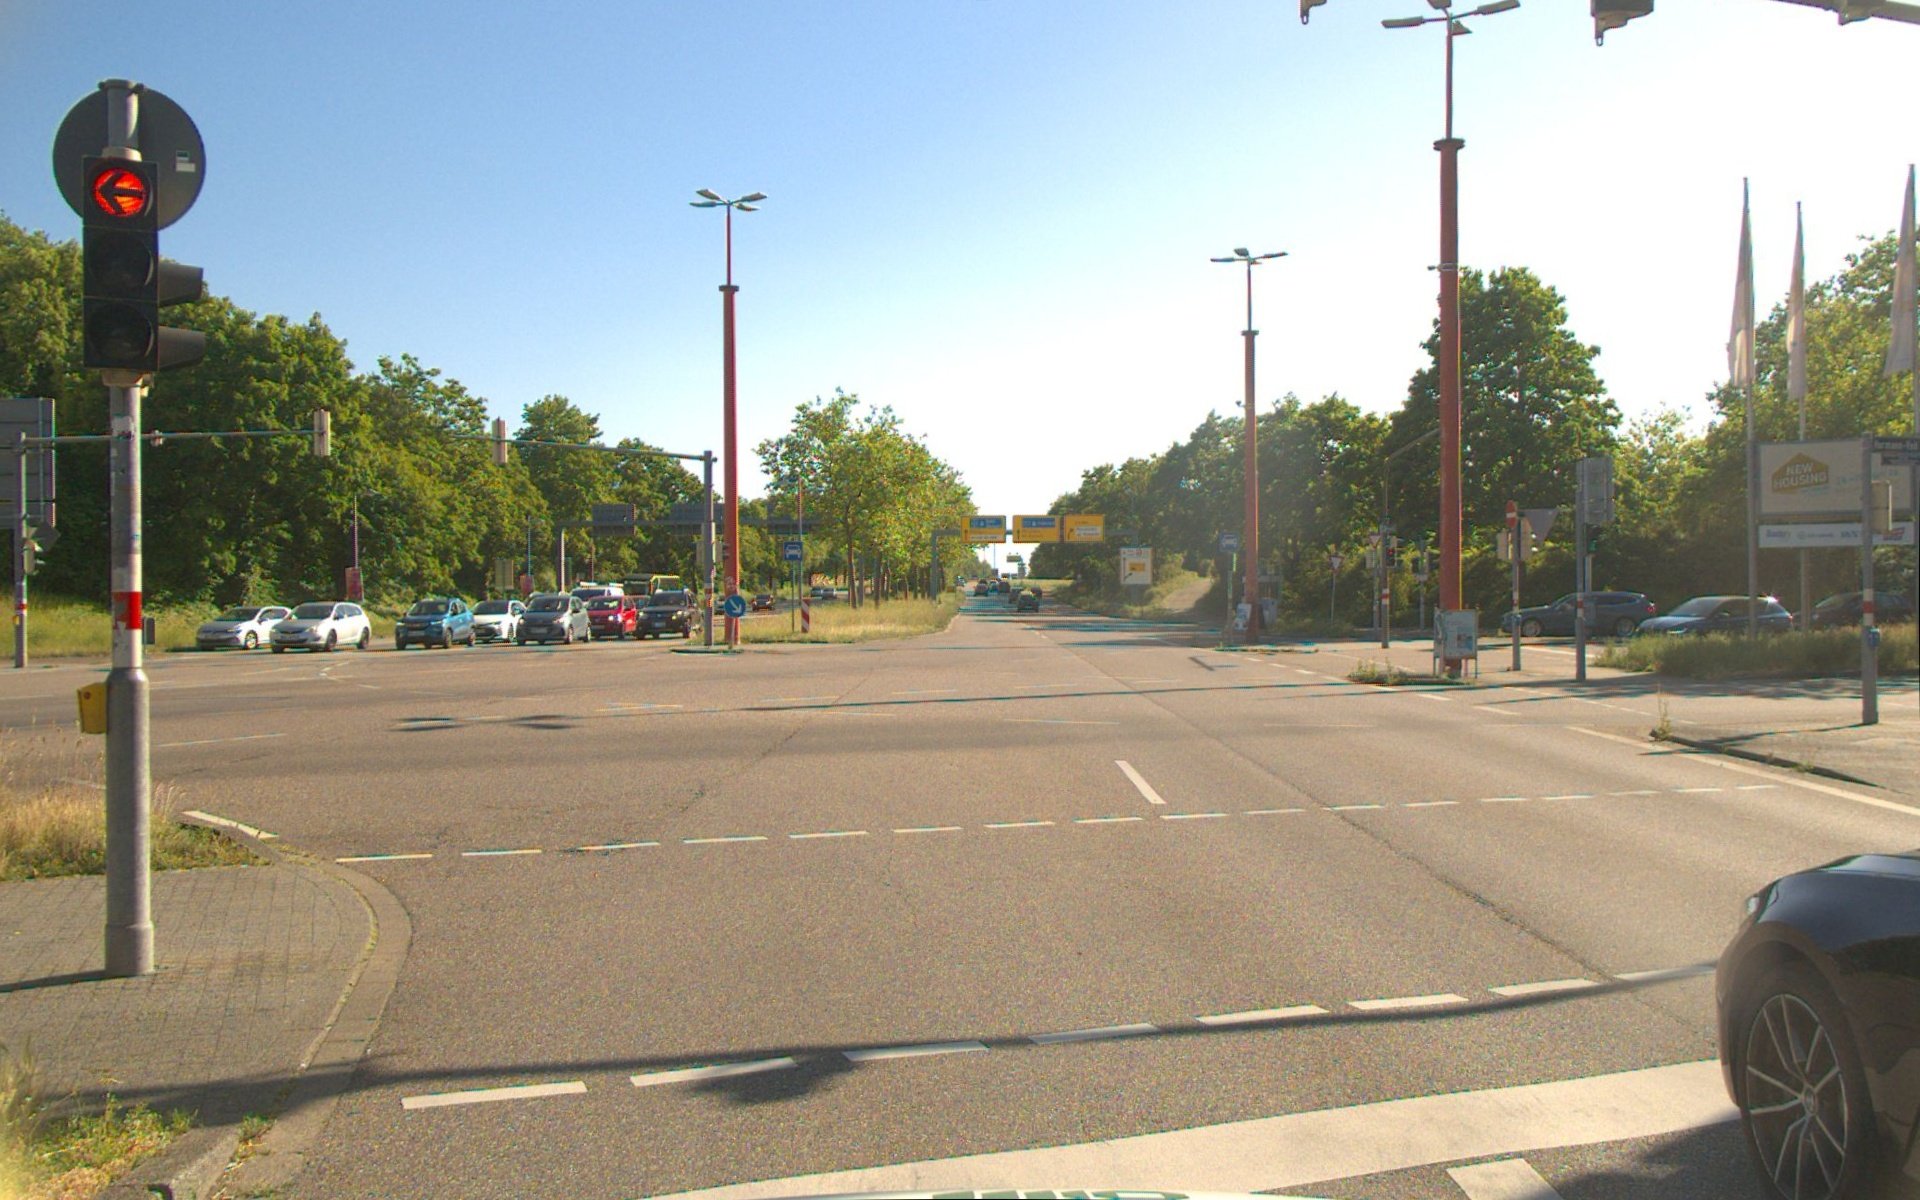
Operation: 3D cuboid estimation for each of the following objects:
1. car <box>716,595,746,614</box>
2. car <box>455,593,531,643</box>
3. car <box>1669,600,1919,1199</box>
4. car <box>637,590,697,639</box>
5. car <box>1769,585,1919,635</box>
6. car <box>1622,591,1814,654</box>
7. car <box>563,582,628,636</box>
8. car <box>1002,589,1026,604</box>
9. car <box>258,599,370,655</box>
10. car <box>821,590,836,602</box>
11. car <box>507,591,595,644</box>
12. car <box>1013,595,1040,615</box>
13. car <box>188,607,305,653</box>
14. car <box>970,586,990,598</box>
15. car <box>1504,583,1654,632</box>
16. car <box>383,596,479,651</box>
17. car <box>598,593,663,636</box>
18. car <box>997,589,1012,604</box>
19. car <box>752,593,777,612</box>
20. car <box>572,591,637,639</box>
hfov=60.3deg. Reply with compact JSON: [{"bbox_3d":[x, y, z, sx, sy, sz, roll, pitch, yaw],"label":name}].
[{"bbox_3d":[-17.841,0.323,129.047,1.846,1.480,3.656,0,0,0],"label":"car"},{"bbox_3d":[-15.988,0.596,56.783,1.956,1.601,4.113,-1,0,-8],"label":"car"},{"bbox_3d":[2.975,0.712,2.359,1.953,1.419,4.476,0,0,-1],"label":"car"},{"bbox_3d":[-9.871,0.471,55.990,1.841,1.601,4.113,0,0,-8],"label":"car"},{"bbox_3d":[29.538,0.313,55.070,4.182,1.601,2.164,0,0,-4],"label":"car"},{"bbox_3d":[18.731,0.529,40.889,4.201,1.453,1.874,0,0,-19],"label":"car"},{"bbox_3d":[-15.669,0.385,71.264,2.021,2.231,4.376,0,0,-3],"label":"car"},{"bbox_3d":[5.802,-0.389,178.769,2.116,1.601,4.277,0,0,-4],"label":"car"},{"bbox_3d":[-19.568,0.784,50.298,1.954,1.601,4.118,0,0,-3],"label":"car"},{"bbox_3d":[-16.925,-0.532,213.030,1.840,1.601,3.943,0,0,-5],"label":"car"},{"bbox_3d":[-12.803,0.520,51.963,1.954,1.601,4.118,0,0,-4],"label":"car"},{"bbox_3d":[5.382,0.370,134.783,2.114,1.601,4.281,0,0,1],"label":"car"},{"bbox_3d":[-24.319,0.996,56.535,1.755,1.478,4.225,0,0,8],"label":"car"},{"bbox_3d":[2.669,-1.042,218.252,2.202,1.601,4.276,0,0,-5],"label":"car"},{"bbox_3d":[20.854,0.250,55.881,4.470,1.601,2.168,0,0,12],"label":"car"},{"bbox_3d":[-16.206,0.681,50.890,1.955,1.601,4.116,0,0,-5],"label":"car"},{"bbox_3d":[-12.709,0.527,64.045,1.954,1.601,4.117,0,0,-4],"label":"car"},{"bbox_3d":[6.311,-0.487,233.763,1.953,2.049,3.999,0,0,-1],"label":"car"},{"bbox_3d":[-17.449,0.203,147.736,1.953,1.601,4.119,0,0,-2],"label":"car"},{"bbox_3d":[-12.476,0.506,58.270,1.956,1.601,4.113,0,0,-8],"label":"car"}]
